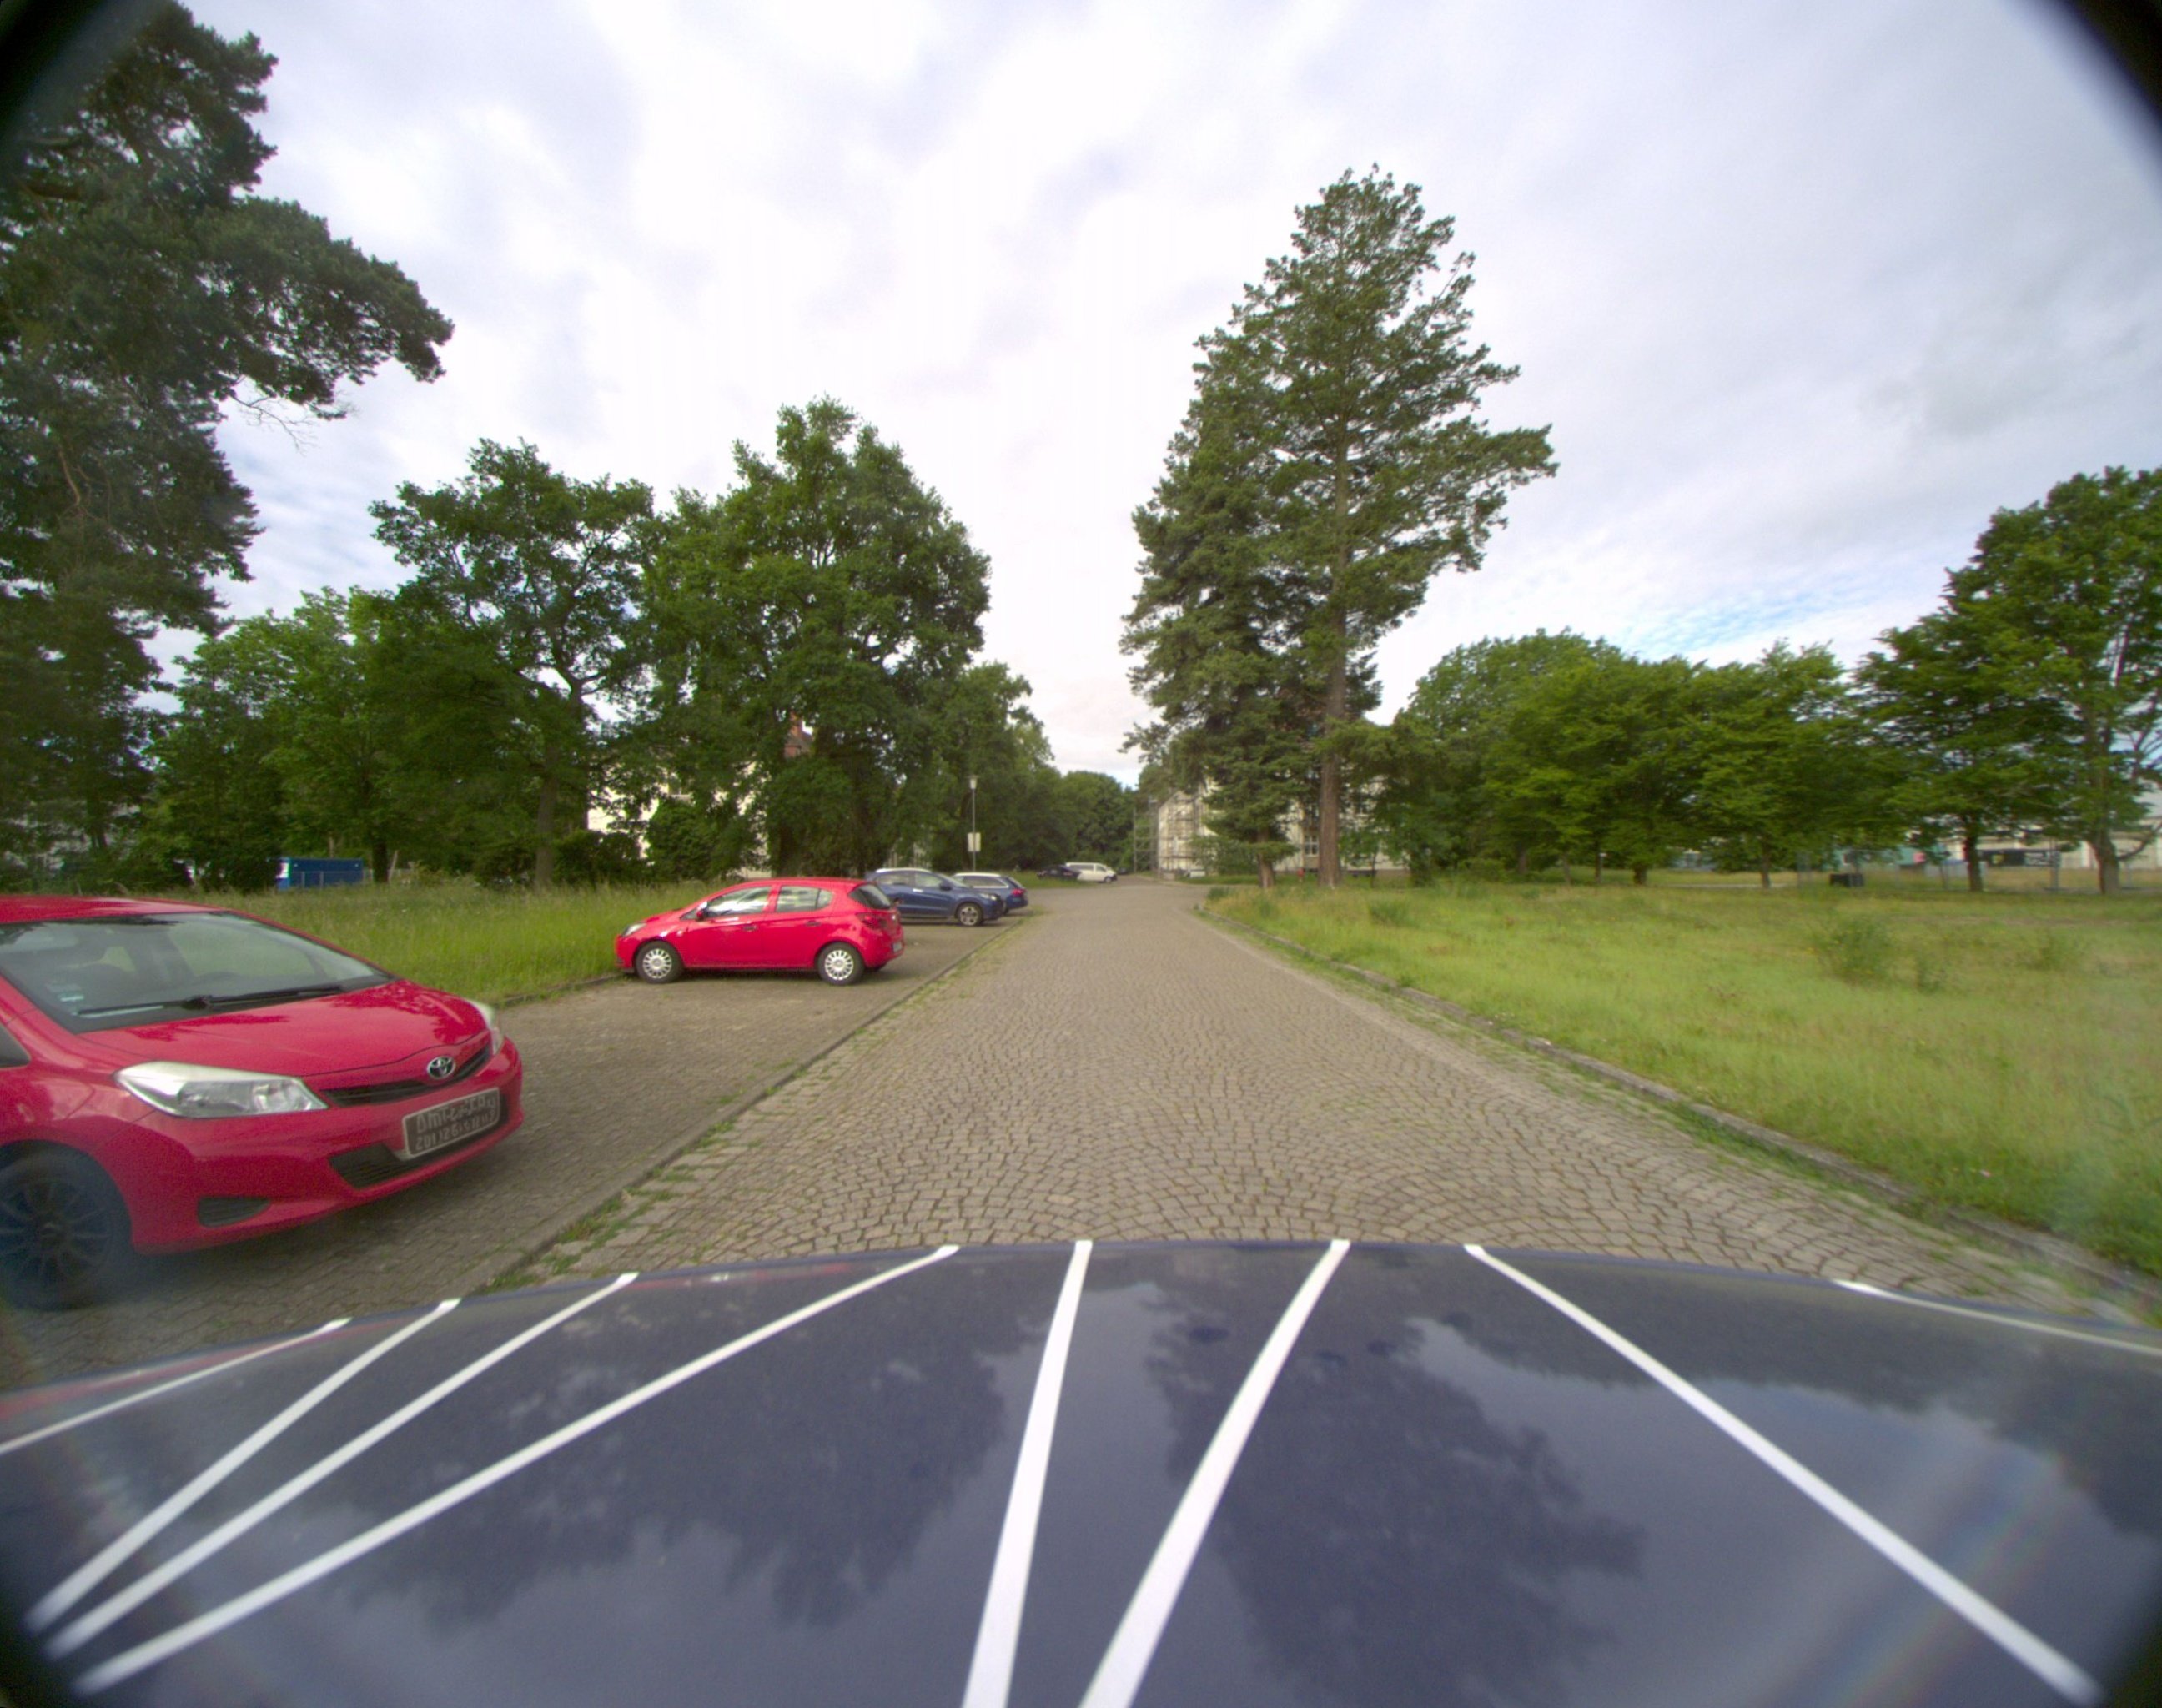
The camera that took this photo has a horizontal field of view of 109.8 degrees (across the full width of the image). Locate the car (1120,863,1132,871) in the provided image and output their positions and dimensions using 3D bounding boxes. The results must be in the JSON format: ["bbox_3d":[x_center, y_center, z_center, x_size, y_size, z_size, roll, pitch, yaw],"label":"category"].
[{"bbox_3d":[8.351,2.476,141.469,1.870,1.408,4.695,1,-1,-3],"label":"car"}]

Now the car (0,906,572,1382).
[{"bbox_3d":[-4.958,1.044,3.523,4.016,1.477,1.766,1,0,2],"label":"car"}]

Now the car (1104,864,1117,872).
[{"bbox_3d":[5.451,2.549,140.998,1.870,1.408,4.695,1,-1,-3],"label":"car"}]

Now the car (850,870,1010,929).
[{"bbox_3d":[-4.139,1.244,21.303,4.150,1.529,1.582,1,0,0],"label":"car"}]

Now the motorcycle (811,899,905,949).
[{"bbox_3d":[-4.531,1.422,15.498,1.745,0.951,0.614,1,0,-4],"label":"motorcycle"}]

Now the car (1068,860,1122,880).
[{"bbox_3d":[1.367,1.575,74.655,5.140,1.860,1.723,1,0,0],"label":"car"}]

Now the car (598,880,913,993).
[{"bbox_3d":[-4.574,1.147,11.067,3.894,1.451,1.582,1,0,0],"label":"car"}]

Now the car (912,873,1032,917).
[{"bbox_3d":[-3.660,1.374,25.953,3.877,1.417,1.582,1,0,0],"label":"car"}]
